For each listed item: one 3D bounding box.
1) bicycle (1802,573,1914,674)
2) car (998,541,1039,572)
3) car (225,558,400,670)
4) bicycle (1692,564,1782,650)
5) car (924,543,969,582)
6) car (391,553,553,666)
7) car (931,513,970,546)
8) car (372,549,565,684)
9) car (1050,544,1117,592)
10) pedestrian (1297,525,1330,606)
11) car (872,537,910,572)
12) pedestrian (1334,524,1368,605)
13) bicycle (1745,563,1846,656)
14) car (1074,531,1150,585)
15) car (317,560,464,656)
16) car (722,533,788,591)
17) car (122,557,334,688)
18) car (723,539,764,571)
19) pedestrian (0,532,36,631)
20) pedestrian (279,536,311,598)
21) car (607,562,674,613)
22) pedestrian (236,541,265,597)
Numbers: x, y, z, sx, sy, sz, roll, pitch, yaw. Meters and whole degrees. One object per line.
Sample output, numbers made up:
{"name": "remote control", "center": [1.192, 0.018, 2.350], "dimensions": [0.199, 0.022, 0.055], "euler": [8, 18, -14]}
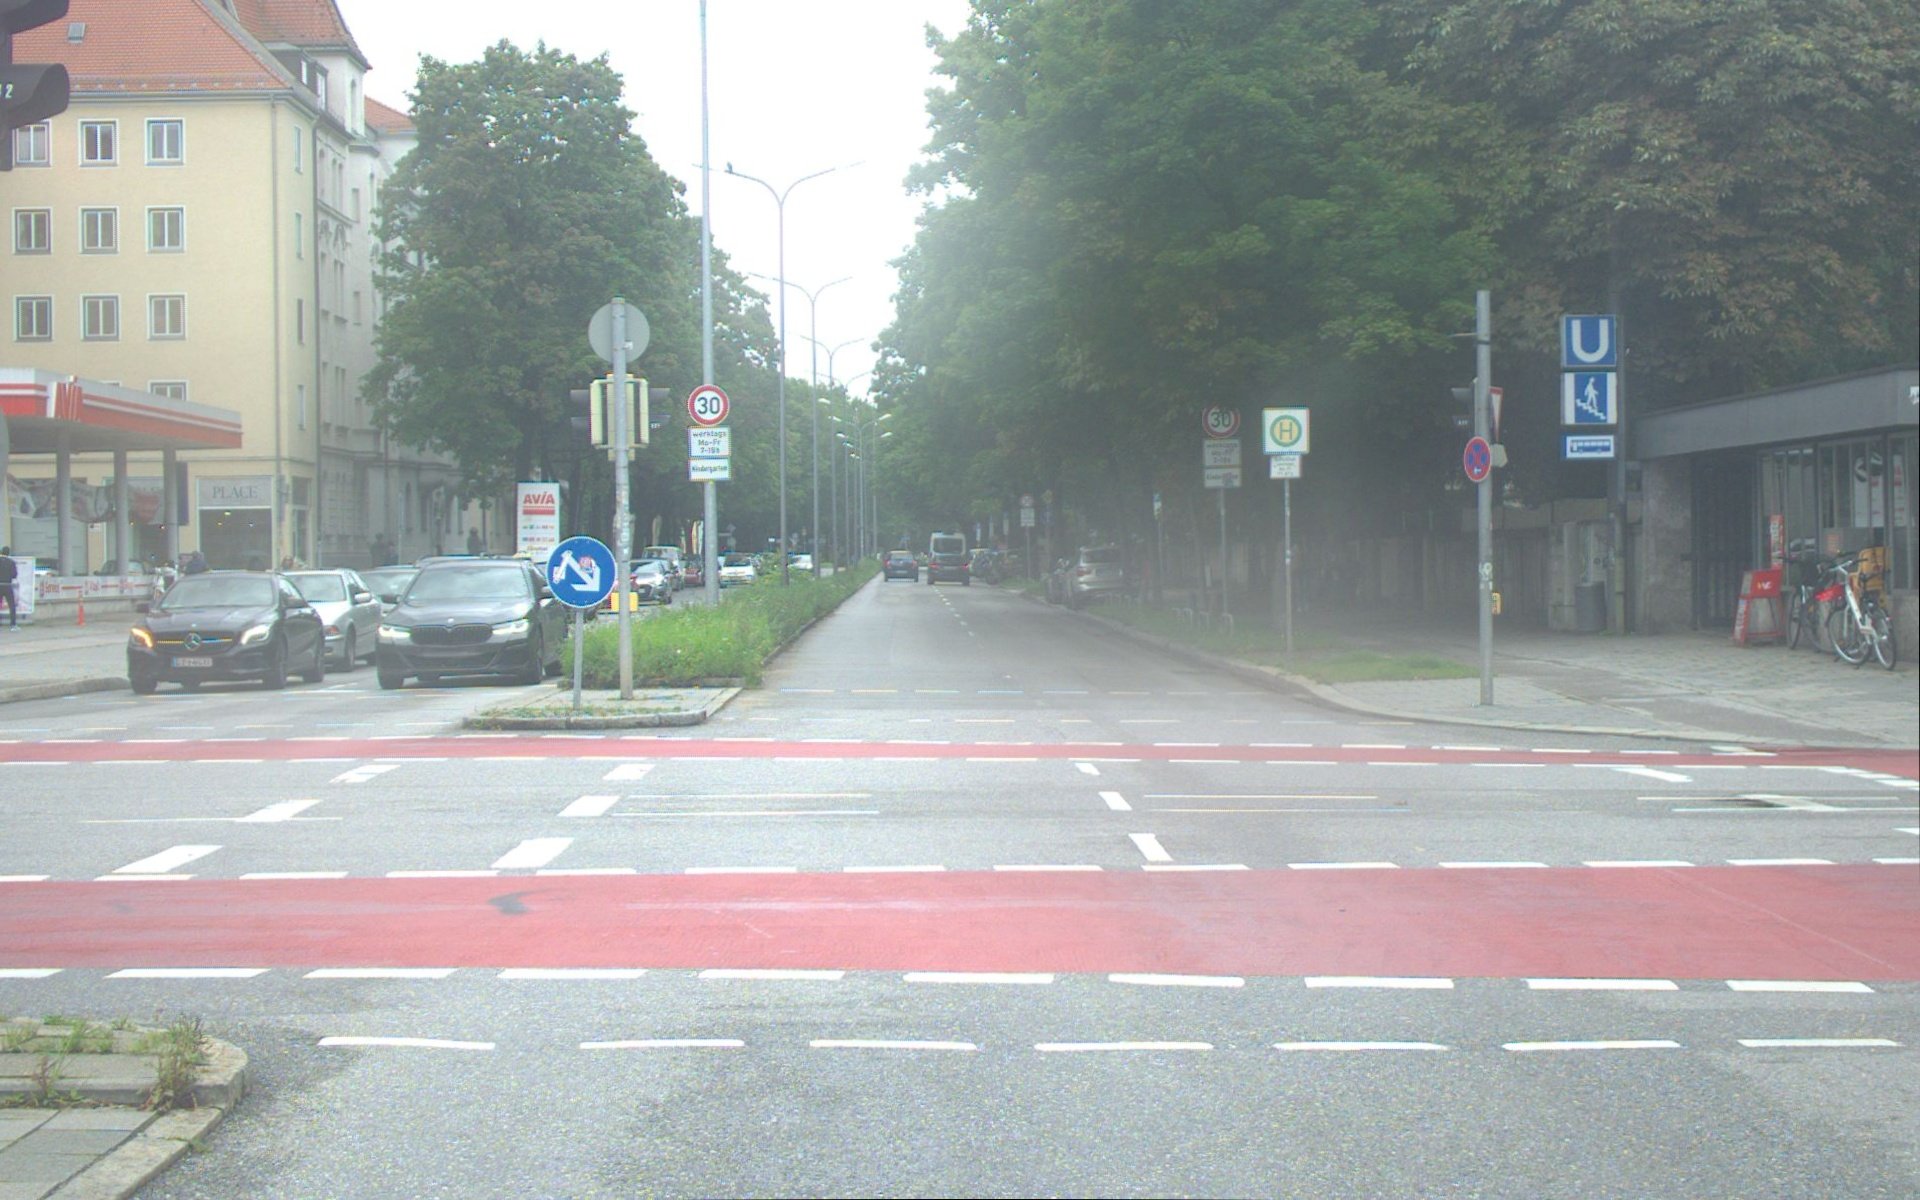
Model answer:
{"name": "bicycle", "center": [9.410, 0.230, 36.104], "dimensions": [0.556, 1.011, 2.016], "euler": [-1, 1, -3]}
{"name": "car", "center": [2.677, -2.026, 159.253], "dimensions": [1.743, 1.422, 3.899], "euler": [-1, 1, -1]}
{"name": "car", "center": [-9.057, 0.166, 48.327], "dimensions": [1.759, 1.455, 4.000], "euler": [-1, 1, -1]}
{"name": "bicycle", "center": [9.526, 0.070, 42.213], "dimensions": [0.556, 1.011, 2.016], "euler": [-1, 1, -3]}
{"name": "car", "center": [-0.615, -1.674, 153.360], "dimensions": [1.922, 1.678, 4.000], "euler": [-1, 1, -1]}
{"name": "car", "center": [-6.790, 0.099, 48.168], "dimensions": [1.759, 1.488, 4.000], "euler": [-1, 1, -1]}
{"name": "car", "center": [-0.514, -3.839, 186.919], "dimensions": [1.993, 1.750, 4.000], "euler": [-1, 1, -1]}
{"name": "car", "center": [-5.748, 0.155, 40.593], "dimensions": [1.759, 1.488, 4.000], "euler": [-1, 1, -1]}
{"name": "car", "center": [3.572, -0.941, 99.841], "dimensions": [1.743, 1.358, 3.807], "euler": [-1, 1, -1]}
{"name": "pedestrian", "center": [7.416, -0.725, 72.080], "dimensions": [0.678, 1.677, 0.682], "euler": [0, 1, 5]}
{"name": "car", "center": [-3.378, -2.225, 168.706], "dimensions": [1.857, 1.678, 4.000], "euler": [-1, 1, -1]}
{"name": "pedestrian", "center": [8.187, -0.748, 72.029], "dimensions": [0.678, 1.677, 0.682], "euler": [0, 1, 5]}
{"name": "bicycle", "center": [9.421, 0.093, 38.836], "dimensions": [0.556, 1.011, 2.016], "euler": [-1, 1, -3]}
{"name": "car", "center": [3.945, -1.110, 89.719], "dimensions": [1.743, 1.358, 3.807], "euler": [-1, 1, -1]}
{"name": "car", "center": [-9.136, 0.103, 55.409], "dimensions": [1.759, 1.455, 4.000], "euler": [-1, 1, -1]}
{"name": "car", "center": [-5.077, -0.965, 85.274], "dimensions": [1.468, 1.394, 3.700], "euler": [-1, 1, -1]}
{"name": "car", "center": [-8.781, 0.233, 41.521], "dimensions": [1.759, 1.455, 4.000], "euler": [-1, 1, -1]}
{"name": "car", "center": [-10.167, -2.137, 161.711], "dimensions": [1.759, 1.455, 4.000], "euler": [-1, 1, -1]}
{"name": "pedestrian", "center": [-19.278, -0.379, 69.898], "dimensions": [0.730, 2.007, 0.834], "euler": [1, 0, -1]}
{"name": "pedestrian", "center": [-17.782, -0.887, 91.967], "dimensions": [0.696, 1.632, 0.738], "euler": [-1, 1, -1]}
{"name": "car", "center": [-9.850, -0.403, 106.100], "dimensions": [1.759, 1.488, 4.000], "euler": [-1, 1, -1]}
{"name": "pedestrian", "center": [-20.800, -0.921, 100.835], "dimensions": [0.696, 1.632, 0.738], "euler": [-1, 1, -1]}
